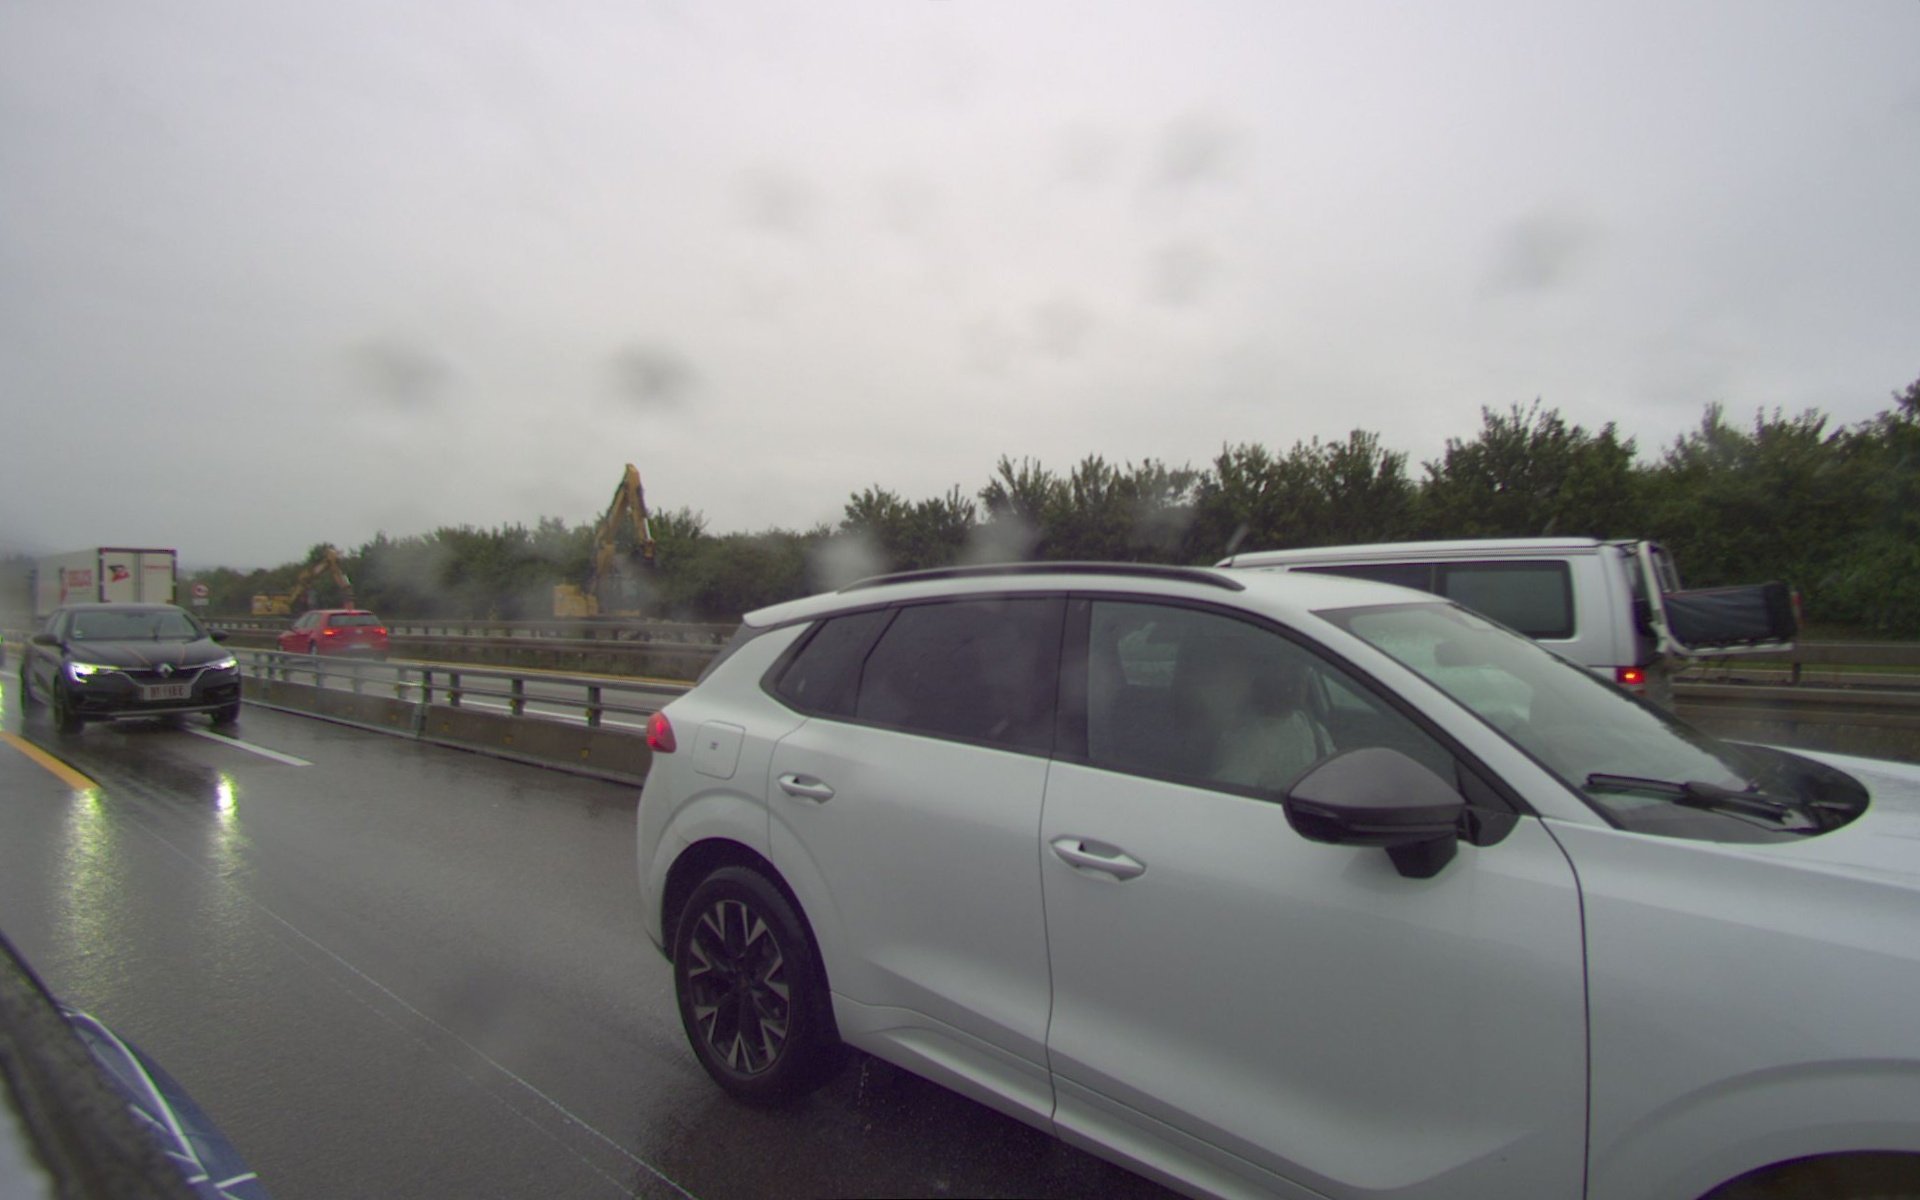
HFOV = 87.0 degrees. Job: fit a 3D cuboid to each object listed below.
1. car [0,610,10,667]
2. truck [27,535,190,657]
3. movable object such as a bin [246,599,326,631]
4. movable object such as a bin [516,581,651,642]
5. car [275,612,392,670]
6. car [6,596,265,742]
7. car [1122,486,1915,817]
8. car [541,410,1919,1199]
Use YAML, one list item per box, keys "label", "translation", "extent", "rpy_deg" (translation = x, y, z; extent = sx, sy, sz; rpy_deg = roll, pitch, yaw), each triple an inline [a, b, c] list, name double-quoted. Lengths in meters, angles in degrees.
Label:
- label: "car"
  translation: [-27.593, 1.040, 27.611]
  extent: [4.628, 1.509, 1.973]
  rpy_deg: [-1, 0, 41]
- label: "truck"
  translation: [-39.711, -0.088, 46.815]
  extent: [15.976, 4.873, 3.240]
  rpy_deg: [-1, 0, 41]
- label: "movable object such as a bin"
  translation: [-50.745, 1.098, 76.186]
  extent: [5.089, 2.312, 3.408]
  rpy_deg: [-1, 0, 35]
- label: "movable object such as a bin"
  translation: [-18.668, 0.531, 50.055]
  extent: [6.328, 2.819, 3.725]
  rpy_deg: [-1, 0, 42]
- label: "car"
  translation: [-16.948, 1.052, 27.311]
  extent: [3.832, 1.439, 1.682]
  rpy_deg: [-1, 0, 42]
- label: "car"
  translation: [-10.964, 0.776, 13.342]
  extent: [4.412, 1.597, 1.972]
  rpy_deg: [-1, 0, 42]
- label: "car"
  translation: [3.940, 0.300, 7.941]
  extent: [5.052, 1.820, 1.872]
  rpy_deg: [-1, 0, 41]
- label: "car"
  translation: [0.897, 0.591, 2.794]
  extent: [4.796, 1.629, 1.972]
  rpy_deg: [-1, 0, 43]
